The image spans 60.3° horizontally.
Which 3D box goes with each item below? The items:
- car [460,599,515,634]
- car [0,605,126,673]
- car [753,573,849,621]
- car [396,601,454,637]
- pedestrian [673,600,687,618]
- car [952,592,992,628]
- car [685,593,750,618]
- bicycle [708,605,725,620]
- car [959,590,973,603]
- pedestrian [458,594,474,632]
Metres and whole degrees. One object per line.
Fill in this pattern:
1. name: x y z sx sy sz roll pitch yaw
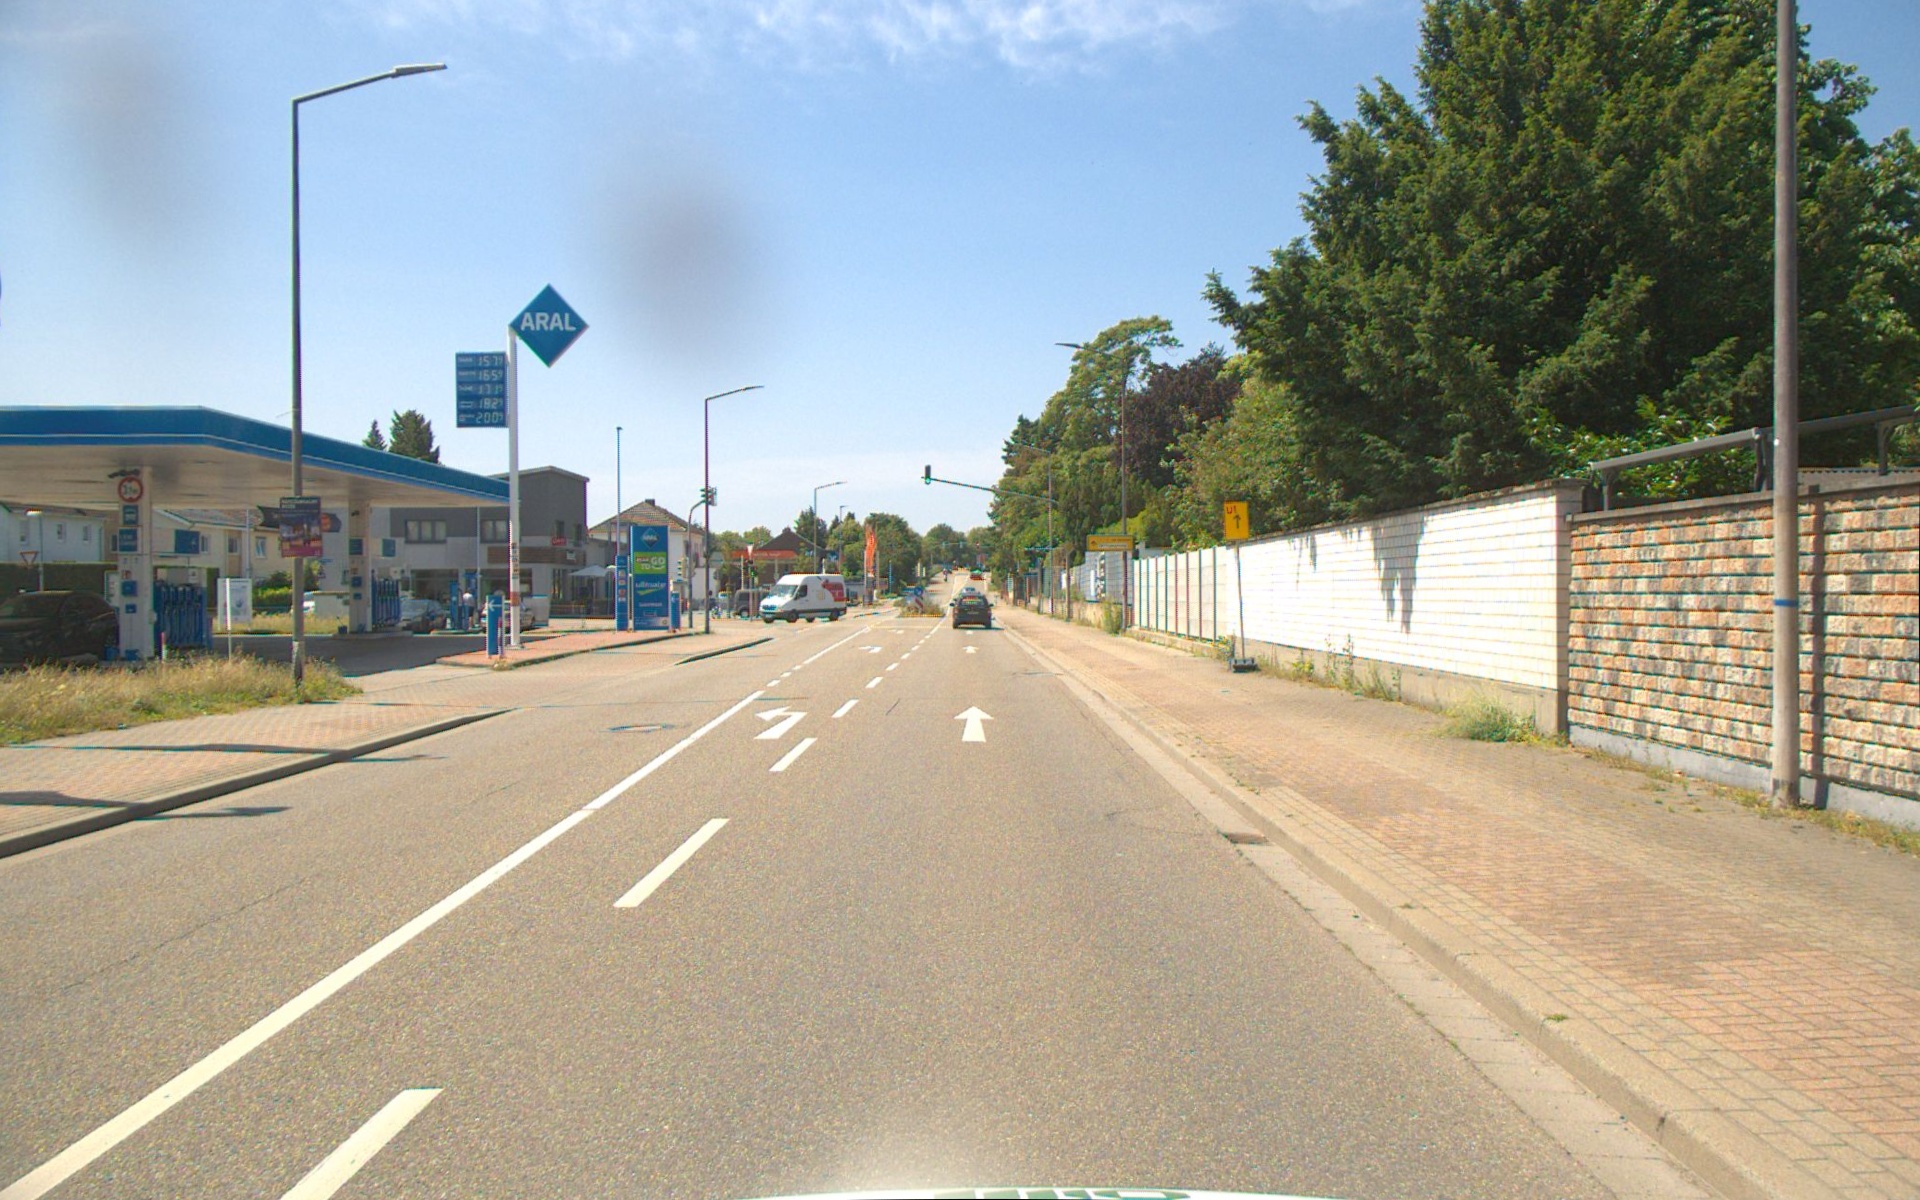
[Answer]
1. car: -21.034 0.709 73.755 1.585 1.445 3.708 -2 0 -4
2. car: -20.811 0.854 37.620 1.636 1.406 4.000 -1 0 0
3. car: -8.732 -0.119 91.468 1.959 2.465 5.928 0 -1 34
4. car: -23.661 0.812 73.273 1.585 1.445 3.708 -2 0 -4
5. pedestrian: -19.974 0.620 117.934 0.600 1.283 0.755 0 0 26
6. car: 0.507 0.419 70.806 1.631 1.481 3.472 -1 0 0
7. car: -15.288 0.342 104.239 3.908 1.534 1.554 -1 0 -4
8. bicycle: -14.049 0.730 95.314 0.600 0.807 2.575 -1 0 0
9. car: 0.713 -0.450 199.551 1.631 1.481 3.472 -1 0 0
10. pedestrian: -22.361 0.588 74.830 0.603 1.721 0.703 -1 0 -26
